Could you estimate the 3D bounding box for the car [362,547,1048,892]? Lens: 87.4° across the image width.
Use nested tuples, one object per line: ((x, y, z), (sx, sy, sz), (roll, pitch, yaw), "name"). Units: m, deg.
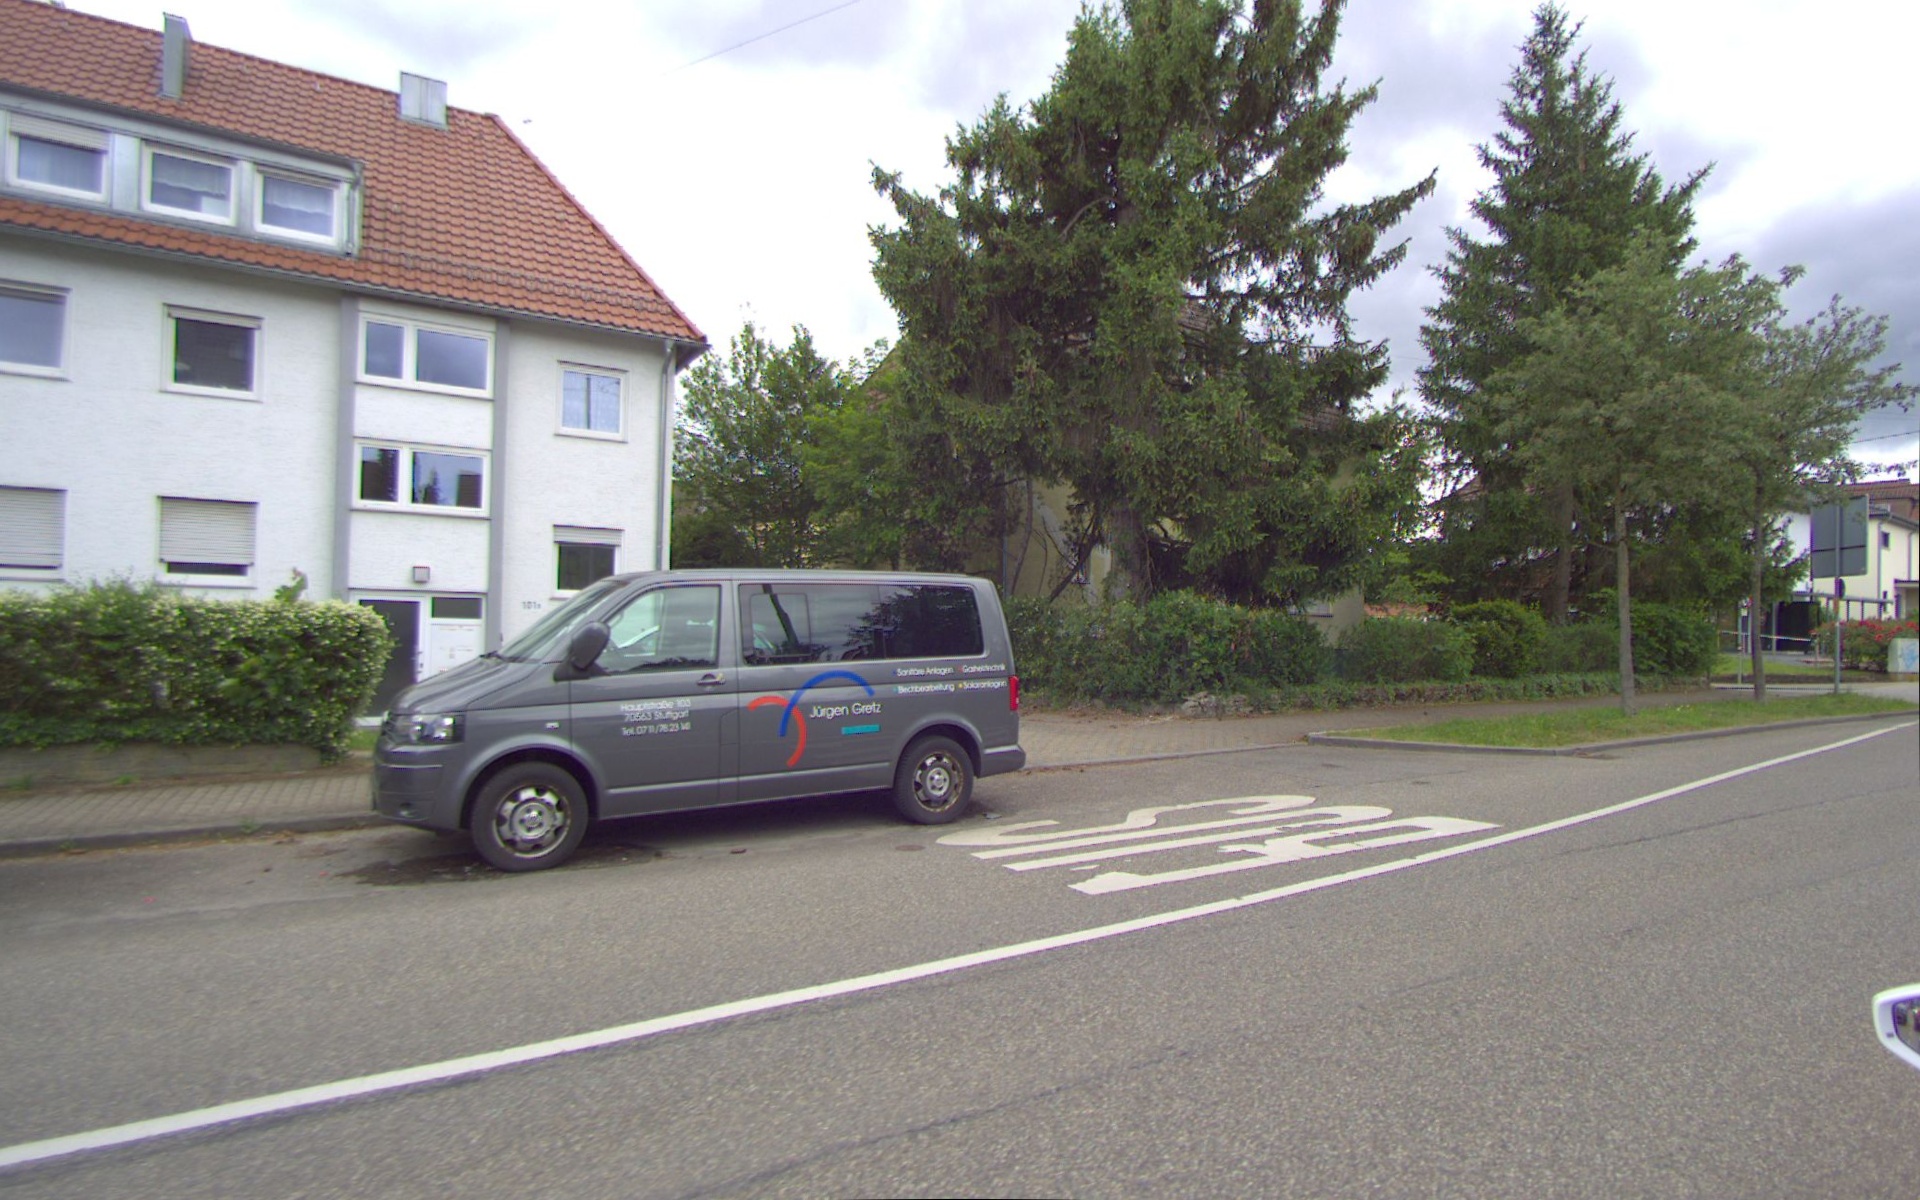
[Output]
((-1.843, 0.742, 7.878), (4.841, 1.975, 1.984), (1, -2, -31), "car")
